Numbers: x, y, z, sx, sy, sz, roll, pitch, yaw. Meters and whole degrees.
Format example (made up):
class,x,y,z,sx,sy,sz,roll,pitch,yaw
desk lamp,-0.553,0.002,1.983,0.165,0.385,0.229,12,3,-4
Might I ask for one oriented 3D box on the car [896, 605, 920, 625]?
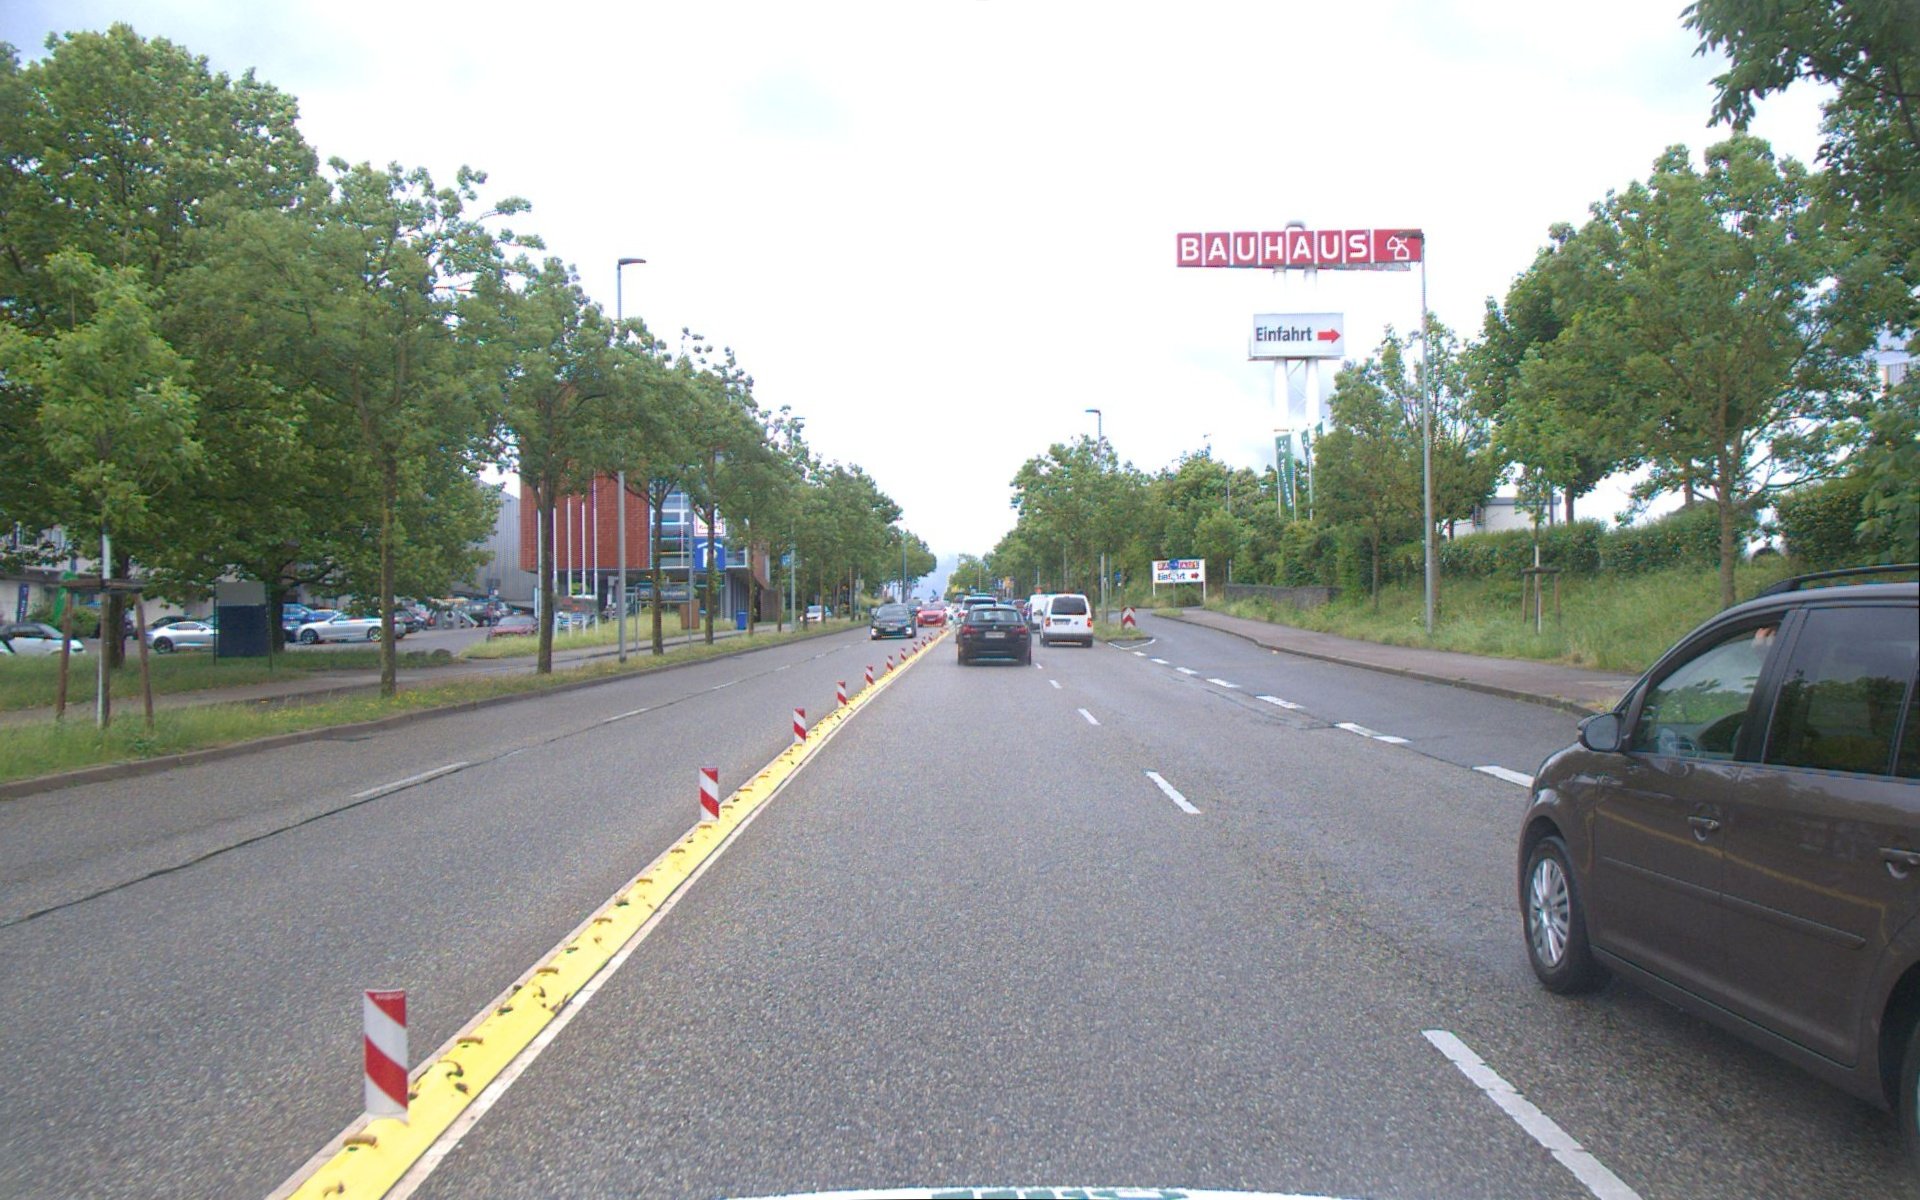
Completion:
class,x,y,z,sx,sy,sz,roll,pitch,yaw
car,-4.557,1.338,145.475,1.751,1.642,4.437,-3,0,1

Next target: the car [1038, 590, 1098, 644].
class,x,y,z,sx,sy,sz,roll,pitch,yaw
car,3.764,0.564,58.094,1.790,1.790,4.000,1,0,-1

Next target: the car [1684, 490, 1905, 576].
class,x,y,z,sx,sy,sz,roll,pitch,yaw
car,19.799,-1.572,39.346,4.263,1.657,1.926,-4,0,-5

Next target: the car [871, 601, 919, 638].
class,x,y,z,sx,sy,sz,roll,pitch,yaw
car,-2.774,0.832,71.484,1.789,1.491,4.616,-1,0,1

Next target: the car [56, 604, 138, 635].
class,x,y,z,sx,sy,sz,roll,pitch,yaw
car,-51.271,1.170,98.292,3.910,1.762,1.798,0,1,-6

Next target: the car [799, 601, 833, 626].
class,x,y,z,sx,sy,sz,roll,pitch,yaw
car,-10.098,0.932,116.303,1.829,1.580,4.575,-3,0,0

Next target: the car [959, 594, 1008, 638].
class,x,y,z,sx,sy,sz,roll,pitch,yaw
car,0.870,0.606,61.456,1.757,1.537,4.000,1,-1,1

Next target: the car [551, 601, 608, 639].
class,x,y,z,sx,sy,sz,roll,pitch,yaw
car,-19.759,1.002,86.067,1.998,1.792,4.944,0,1,-2

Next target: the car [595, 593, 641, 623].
class,x,y,z,sx,sy,sz,roll,pitch,yaw
car,-22.055,0.484,106.852,2.094,1.804,4.607,0,1,-2

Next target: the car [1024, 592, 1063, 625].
class,x,y,z,sx,sy,sz,roll,pitch,yaw
car,4.089,0.416,81.234,1.757,1.537,4.000,1,-1,1

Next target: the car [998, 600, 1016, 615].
class,x,y,z,sx,sy,sz,roll,pitch,yaw
car,4.976,0.817,176.456,1.758,1.537,3.999,1,-1,-1

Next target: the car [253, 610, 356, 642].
class,x,y,z,sx,sy,sz,roll,pitch,yaw
car,-33.533,1.318,84.730,4.523,1.536,2.022,0,1,-8

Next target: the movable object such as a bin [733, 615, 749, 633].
class,x,y,z,sx,sy,sz,roll,pitch,yaw
movable object such as a bin,-14.024,1.526,106.094,0.802,1.098,1.086,4,0,1

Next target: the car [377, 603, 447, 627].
class,x,y,z,sx,sy,sz,roll,pitch,yaw
car,-35.691,0.978,107.869,4.031,1.536,1.816,0,1,-8

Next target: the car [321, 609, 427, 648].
class,x,y,z,sx,sy,sz,roll,pitch,yaw
car,-27.938,1.348,78.978,4.414,1.776,1.897,0,1,-8

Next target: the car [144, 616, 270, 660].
class,x,y,z,sx,sy,sz,roll,pitch,yaw
car,-32.156,1.597,70.735,4.516,1.776,1.962,0,1,-11

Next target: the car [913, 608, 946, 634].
class,x,y,z,sx,sy,sz,roll,pitch,yaw
car,-1.811,1.267,100.557,1.725,1.450,4.181,-2,0,2

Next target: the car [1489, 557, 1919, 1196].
class,x,y,z,sx,sy,sz,roll,pitch,yaw
car,3.222,0.703,5.185,1.651,1.609,4.217,1,0,-2

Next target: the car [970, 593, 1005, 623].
class,x,y,z,sx,sy,sz,roll,pitch,yaw
car,1.426,0.429,86.468,1.757,1.537,3.999,1,-1,0

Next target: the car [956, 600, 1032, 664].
class,x,y,z,sx,sy,sz,roll,pitch,yaw
car,0.871,0.771,41.481,1.789,1.494,4.001,-1,0,1

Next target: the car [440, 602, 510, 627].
class,x,y,z,sx,sy,sz,roll,pitch,yaw
car,-31.007,0.944,105.853,4.031,1.536,1.816,0,1,-8

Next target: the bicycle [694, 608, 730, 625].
class,x,y,z,sx,sy,sz,roll,pitch,yaw
bicycle,-15.746,1.068,104.948,2.033,0.952,1.094,4,-1,5

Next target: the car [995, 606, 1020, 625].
class,x,y,z,sx,sy,sz,roll,pitch,yaw
car,3.924,1.253,136.348,1.758,1.537,3.998,1,-1,-2

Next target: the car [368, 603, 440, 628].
class,x,y,z,sx,sy,sz,roll,pitch,yaw
car,-35.327,0.954,105.204,4.031,1.536,1.816,0,1,-8

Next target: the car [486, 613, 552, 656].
class,x,y,z,sx,sy,sz,roll,pitch,yaw
car,-19.034,1.455,71.513,1.895,1.637,4.707,0,1,-4

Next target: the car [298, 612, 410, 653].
class,x,y,z,sx,sy,sz,roll,pitch,yaw
car,-27.912,1.493,76.310,4.512,1.776,1.964,0,1,-8

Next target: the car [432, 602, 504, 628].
class,x,y,z,sx,sy,sz,roll,pitch,yaw
car,-30.789,0.948,103.626,4.031,1.536,1.816,0,1,-8

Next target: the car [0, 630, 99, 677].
class,x,y,z,sx,sy,sz,roll,pitch,yaw
car,-31.064,1.821,56.347,2.646,1.389,1.607,-3,2,-10
